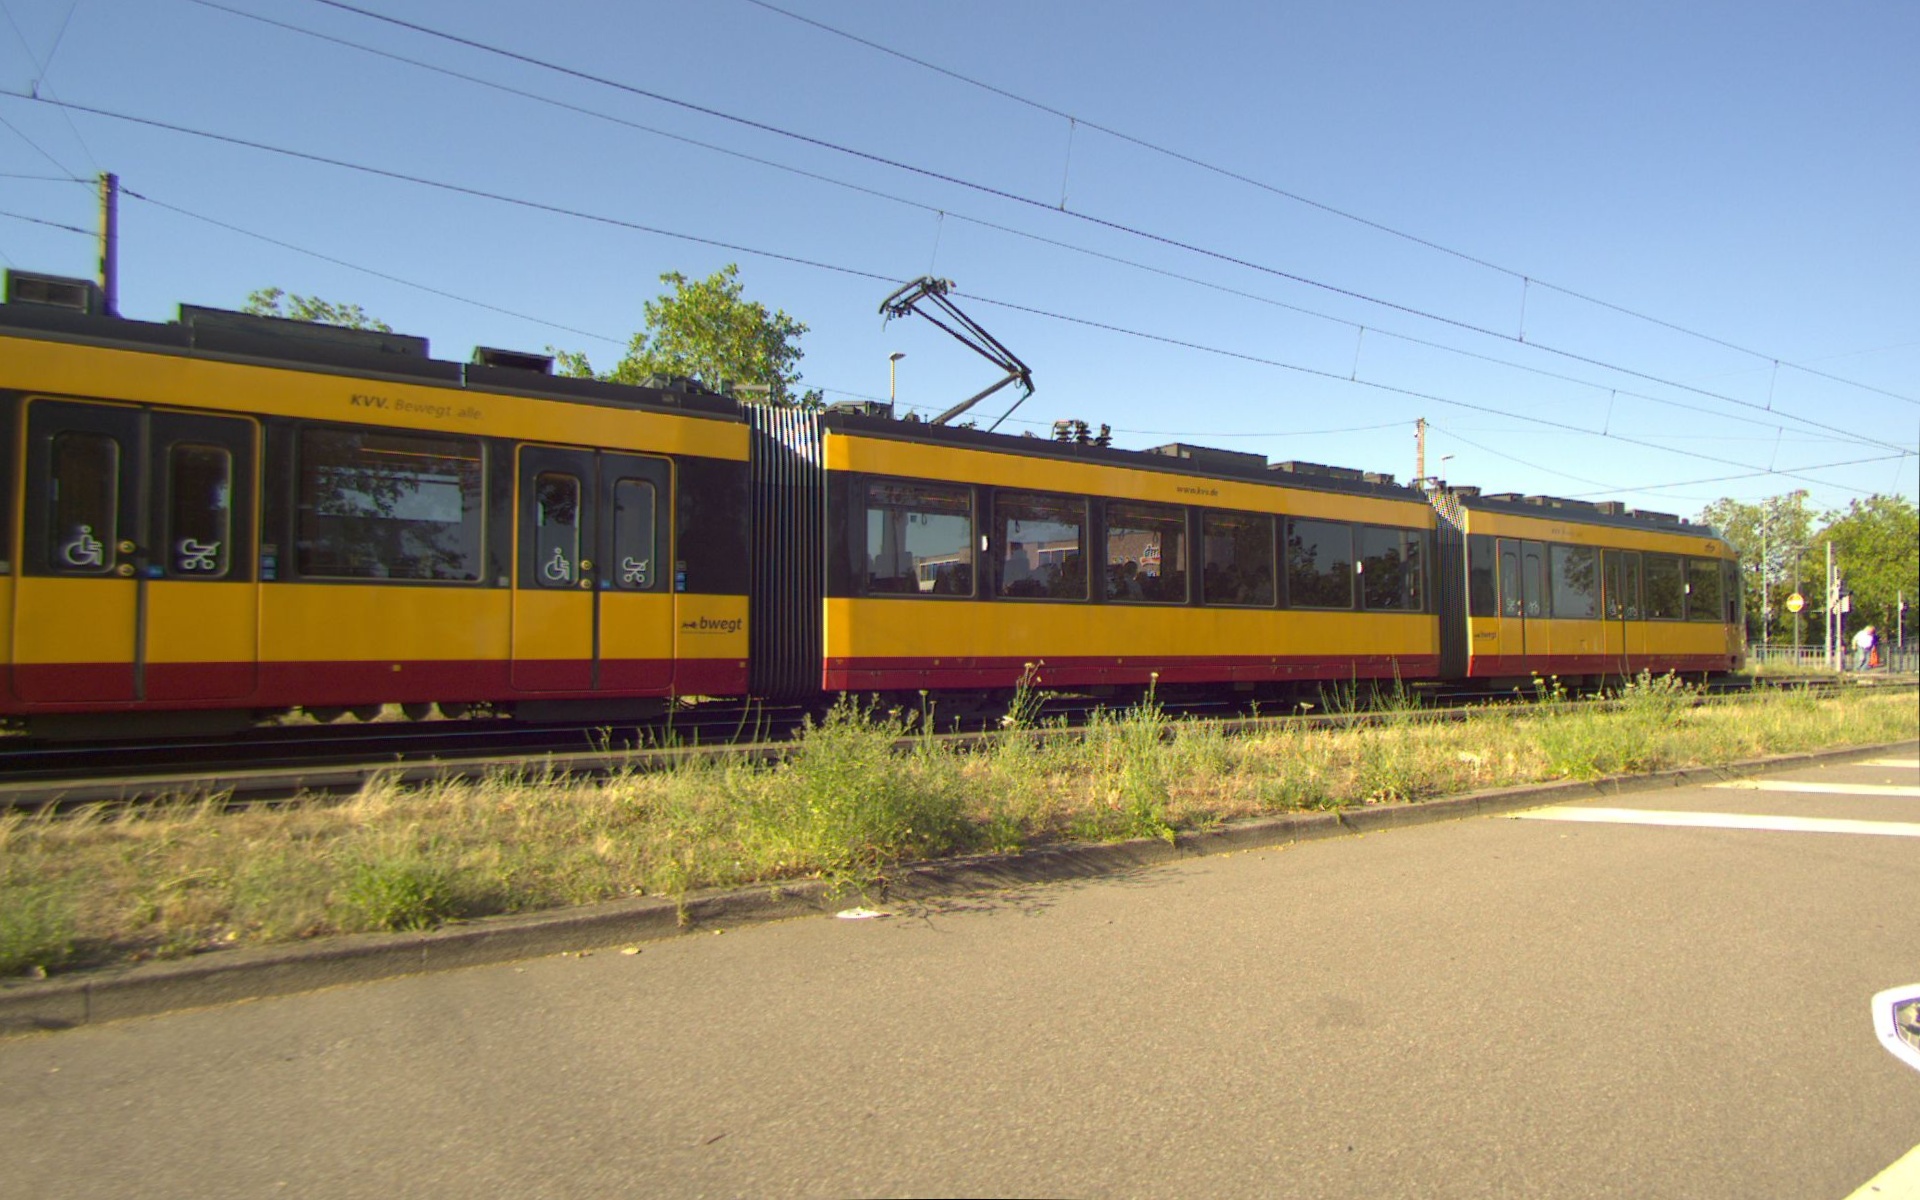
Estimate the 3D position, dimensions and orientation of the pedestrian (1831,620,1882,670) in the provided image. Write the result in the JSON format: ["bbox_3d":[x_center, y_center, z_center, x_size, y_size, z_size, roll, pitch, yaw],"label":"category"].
[{"bbox_3d":[30.844,1.541,34.574,0.967,1.666,0.892,1,-1,-1],"label":"pedestrian"}]

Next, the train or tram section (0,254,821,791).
[{"bbox_3d":[-7.368,-0.553,9.023,11.973,3.999,2.869,1,-1,-31],"label":"train or tram section"}]

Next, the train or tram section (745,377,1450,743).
[{"bbox_3d":[2.656,-0.318,15.108,11.210,3.999,2.869,1,-1,-31],"label":"train or tram section"}]

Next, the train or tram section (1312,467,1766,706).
[{"bbox_3d":[12.613,-0.092,21.139,11.973,3.999,2.869,1,-1,-31],"label":"train or tram section"}]
